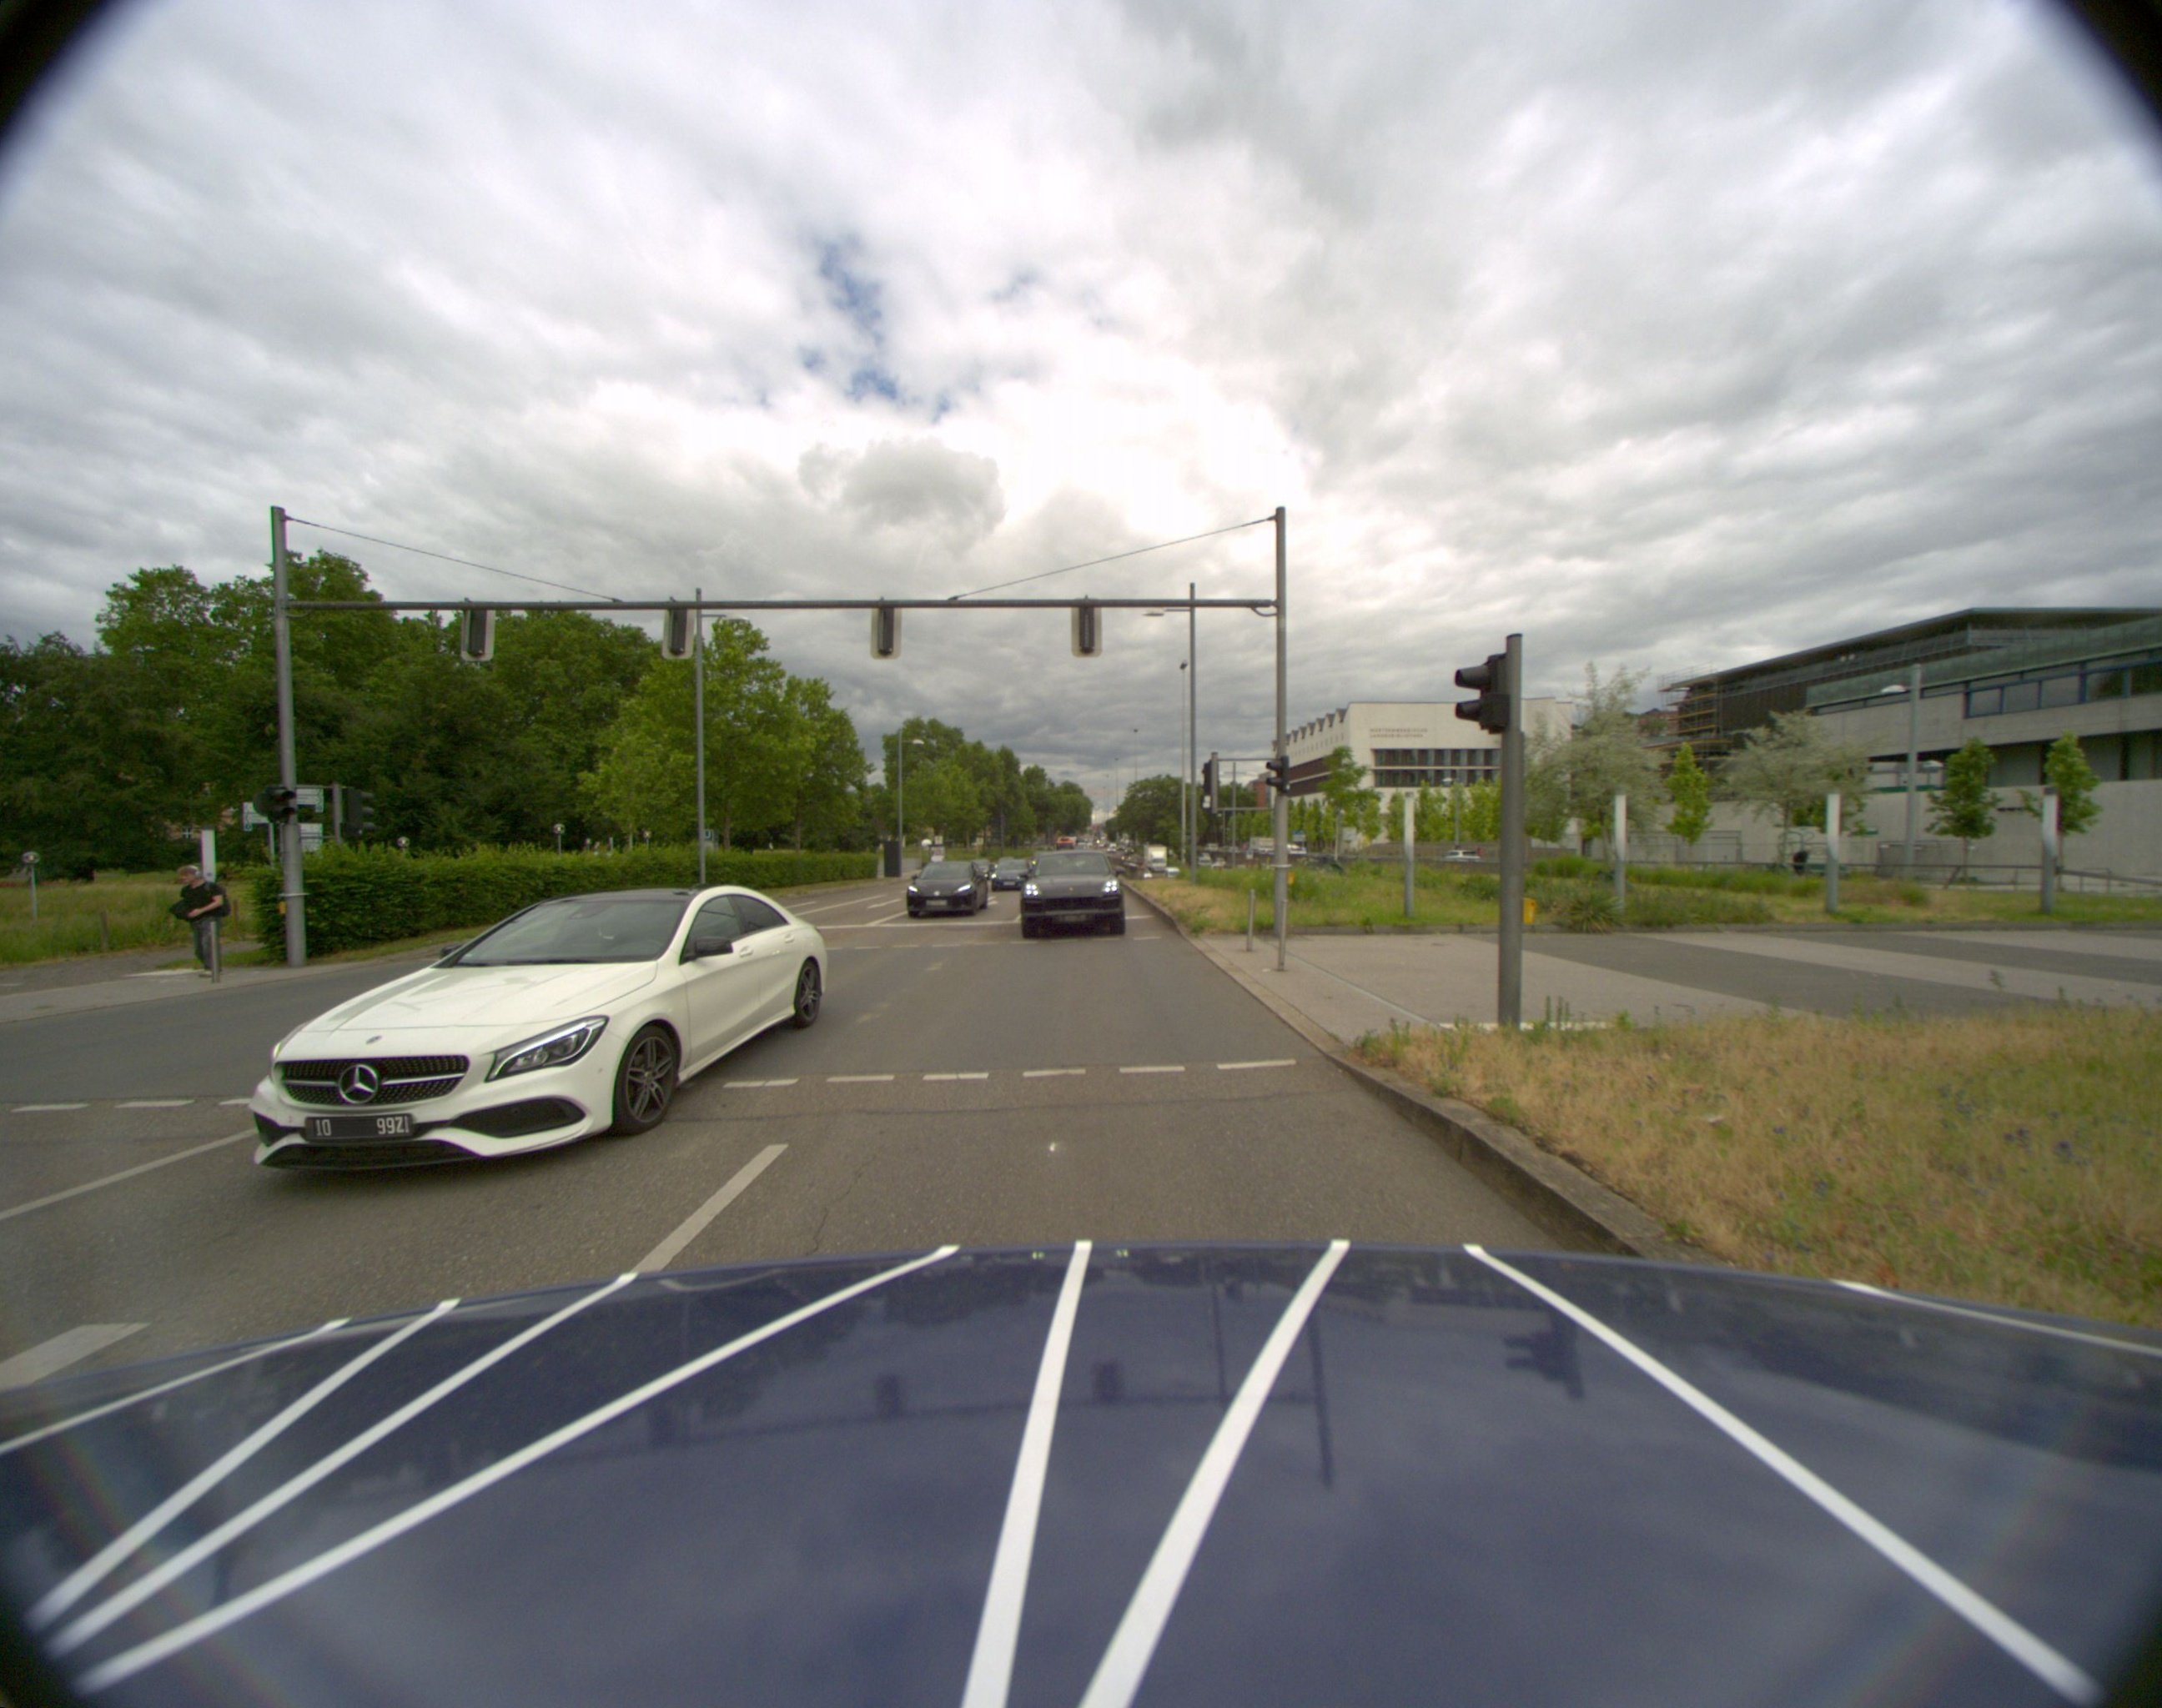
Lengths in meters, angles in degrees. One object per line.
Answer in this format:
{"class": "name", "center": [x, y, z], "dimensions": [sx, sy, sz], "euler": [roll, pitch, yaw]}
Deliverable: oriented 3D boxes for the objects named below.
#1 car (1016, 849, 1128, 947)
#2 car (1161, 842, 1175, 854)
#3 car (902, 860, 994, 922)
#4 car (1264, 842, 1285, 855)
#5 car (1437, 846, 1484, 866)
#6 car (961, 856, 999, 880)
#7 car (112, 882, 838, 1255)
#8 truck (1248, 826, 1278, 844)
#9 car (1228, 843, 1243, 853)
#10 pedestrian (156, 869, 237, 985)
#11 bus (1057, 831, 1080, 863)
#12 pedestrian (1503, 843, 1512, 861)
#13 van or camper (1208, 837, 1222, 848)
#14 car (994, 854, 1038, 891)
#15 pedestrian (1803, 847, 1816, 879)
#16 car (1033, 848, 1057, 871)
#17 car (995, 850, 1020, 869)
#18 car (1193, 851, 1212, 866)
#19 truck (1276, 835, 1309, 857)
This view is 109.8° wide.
{"class": "car", "center": [-0.147, 0.777, 15.825], "dimensions": [1.938, 1.668, 4.679], "euler": [-2, 0, 0]}
{"class": "car", "center": [16.800, -1.103, 146.765], "dimensions": [1.998, 2.119, 4.851], "euler": [2, 0, 0]}
{"class": "car", "center": [-3.681, 0.971, 21.745], "dimensions": [1.830, 1.515, 4.119], "euler": [-1, 0, 0]}
{"class": "car", "center": [28.267, -0.750, 111.184], "dimensions": [1.998, 1.805, 4.258], "euler": [-1, 0, 0]}
{"class": "car", "center": [31.354, 0.152, 62.920], "dimensions": [1.723, 1.565, 4.613], "euler": [-1, 0, 2]}
{"class": "car", "center": [-6.677, 0.884, 50.593], "dimensions": [1.867, 1.412, 4.000], "euler": [-2, 1, 1]}
{"class": "car", "center": [-3.430, 1.052, 5.659], "dimensions": [1.723, 1.415, 4.505], "euler": [-1, 1, 0]}
{"class": "truck", "center": [30.127, -3.117, 126.193], "dimensions": [3.239, 2.771, 7.253], "euler": [-1, 0, 1]}
{"class": "car", "center": [26.632, -1.019, 131.147], "dimensions": [1.723, 1.565, 4.271], "euler": [-1, 0, 2]}
{"class": "pedestrian", "center": [-13.927, 1.125, 11.981], "dimensions": [0.479, 1.754, 0.620], "euler": [-2, 1, -3]}
{"class": "bus", "center": [-1.812, -0.962, 109.272], "dimensions": [3.043, 4.327, 8.748], "euler": [-1, 1, -1]}
{"class": "pedestrian", "center": [35.805, -0.142, 63.839], "dimensions": [0.429, 1.513, 0.461], "euler": [-2, 1, -6]}
{"class": "van or camper", "center": [25.951, -2.235, 147.168], "dimensions": [1.998, 2.002, 4.557], "euler": [-1, 0, 0]}
{"class": "car", "center": [-3.043, 0.833, 36.093], "dimensions": [1.573, 1.528, 4.001], "euler": [-3, 1, 1]}
{"class": "pedestrian", "center": [35.590, 0.441, 37.140], "dimensions": [0.318, 1.513, 0.316], "euler": [-2, 1, -6]}
{"class": "car", "center": [-2.957, 0.422, 63.940], "dimensions": [1.723, 1.851, 4.430], "euler": [-1, 1, 0]}
{"class": "car", "center": [-6.472, 0.466, 67.400], "dimensions": [1.723, 1.528, 4.001], "euler": [-1, 1, 0]}
{"class": "car", "center": [17.205, 0.581, 107.541], "dimensions": [1.998, 2.002, 4.332], "euler": [2, 0, 0]}
{"class": "truck", "center": [27.837, -1.004, 100.134], "dimensions": [2.470, 2.800, 7.079], "euler": [-1, 0, 2]}
